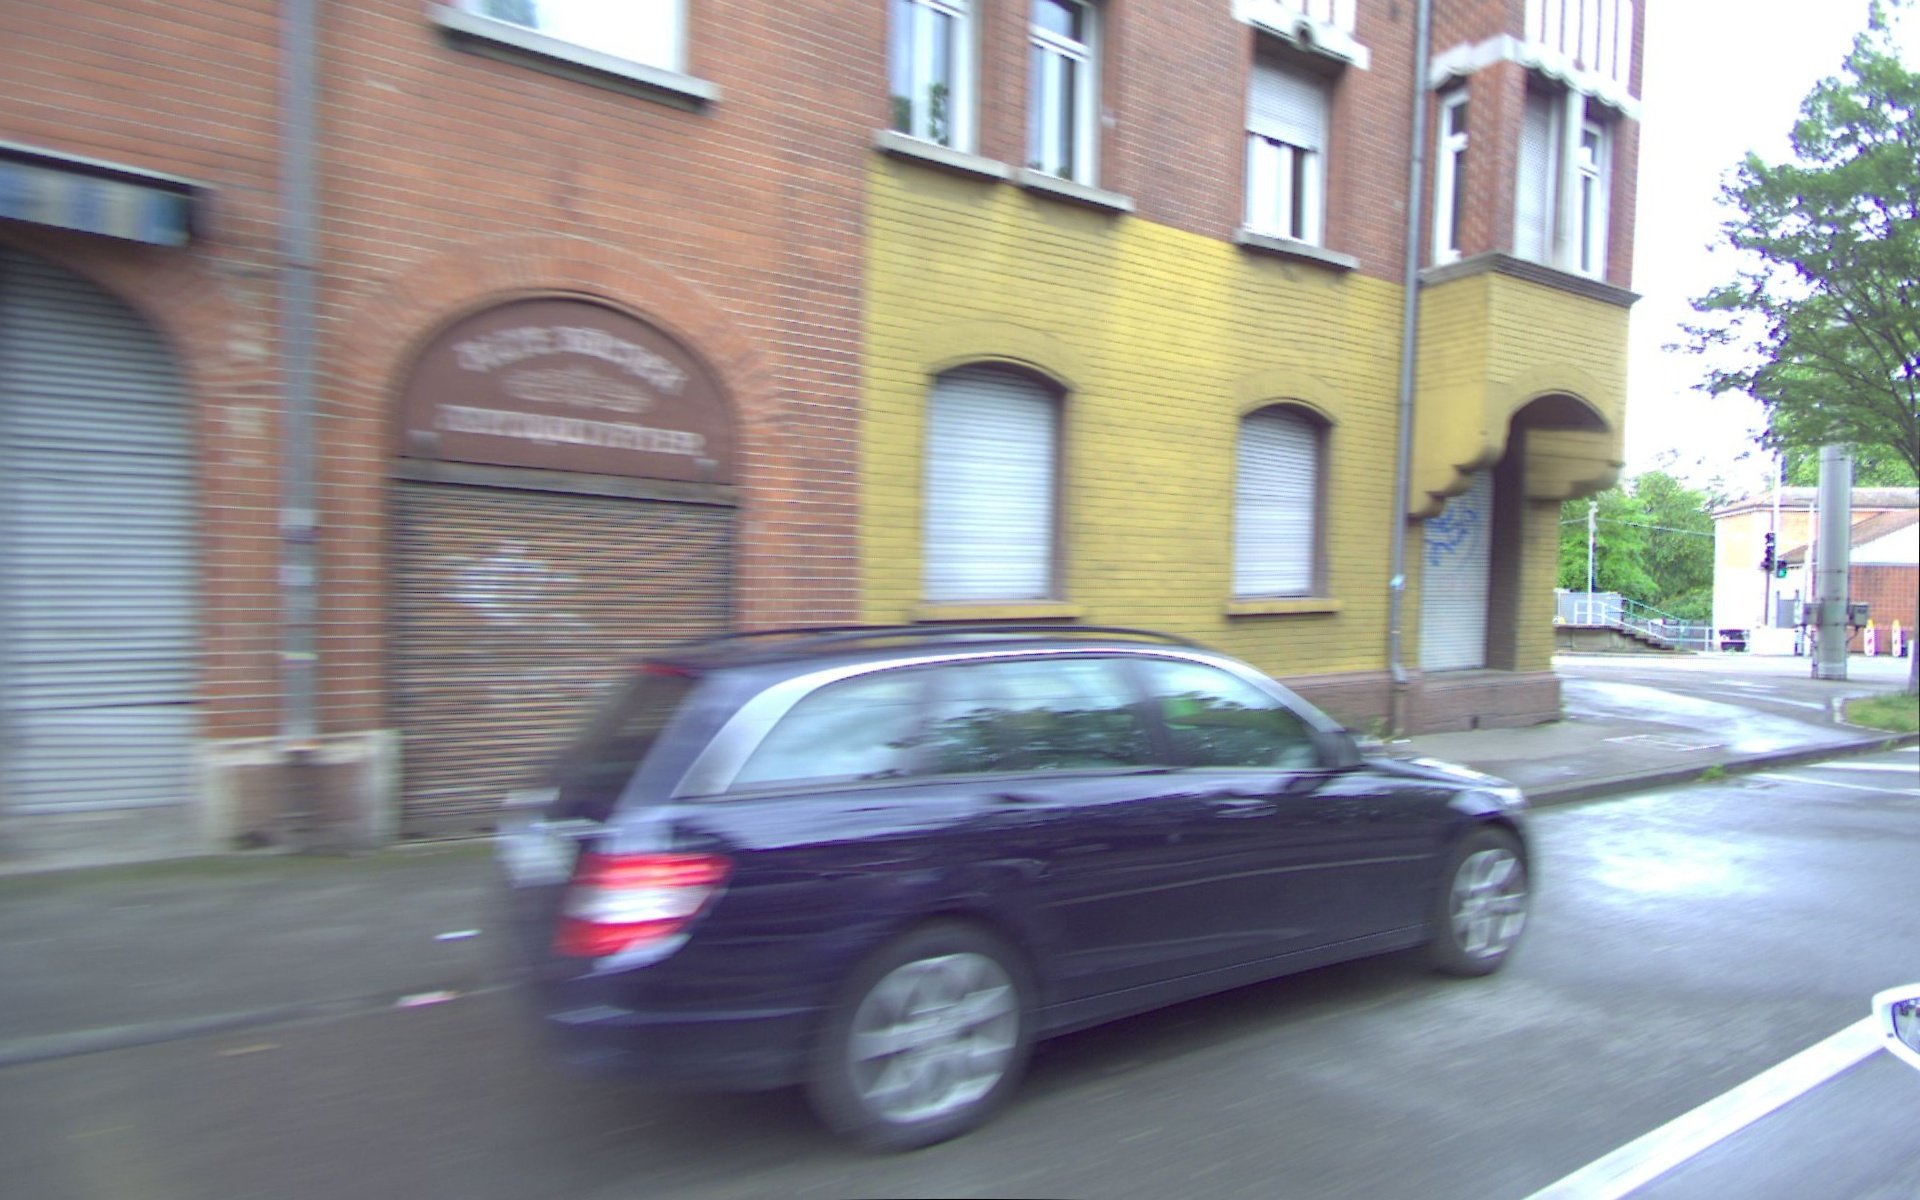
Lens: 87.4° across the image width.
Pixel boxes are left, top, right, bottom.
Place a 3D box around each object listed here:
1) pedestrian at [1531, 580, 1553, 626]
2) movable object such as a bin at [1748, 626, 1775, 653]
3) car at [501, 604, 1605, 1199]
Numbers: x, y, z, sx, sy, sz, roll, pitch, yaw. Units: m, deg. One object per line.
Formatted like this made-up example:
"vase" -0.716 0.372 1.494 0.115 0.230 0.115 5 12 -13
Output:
"pedestrian" 20.772 0.120 35.858 0.515 1.631 0.599 1 -1 15
"movable object such as a bin" 41.274 2.032 51.748 0.834 1.358 0.801 1 -1 18
"car" 0.563 0.822 4.141 4.337 1.506 1.716 -1 2 -30
